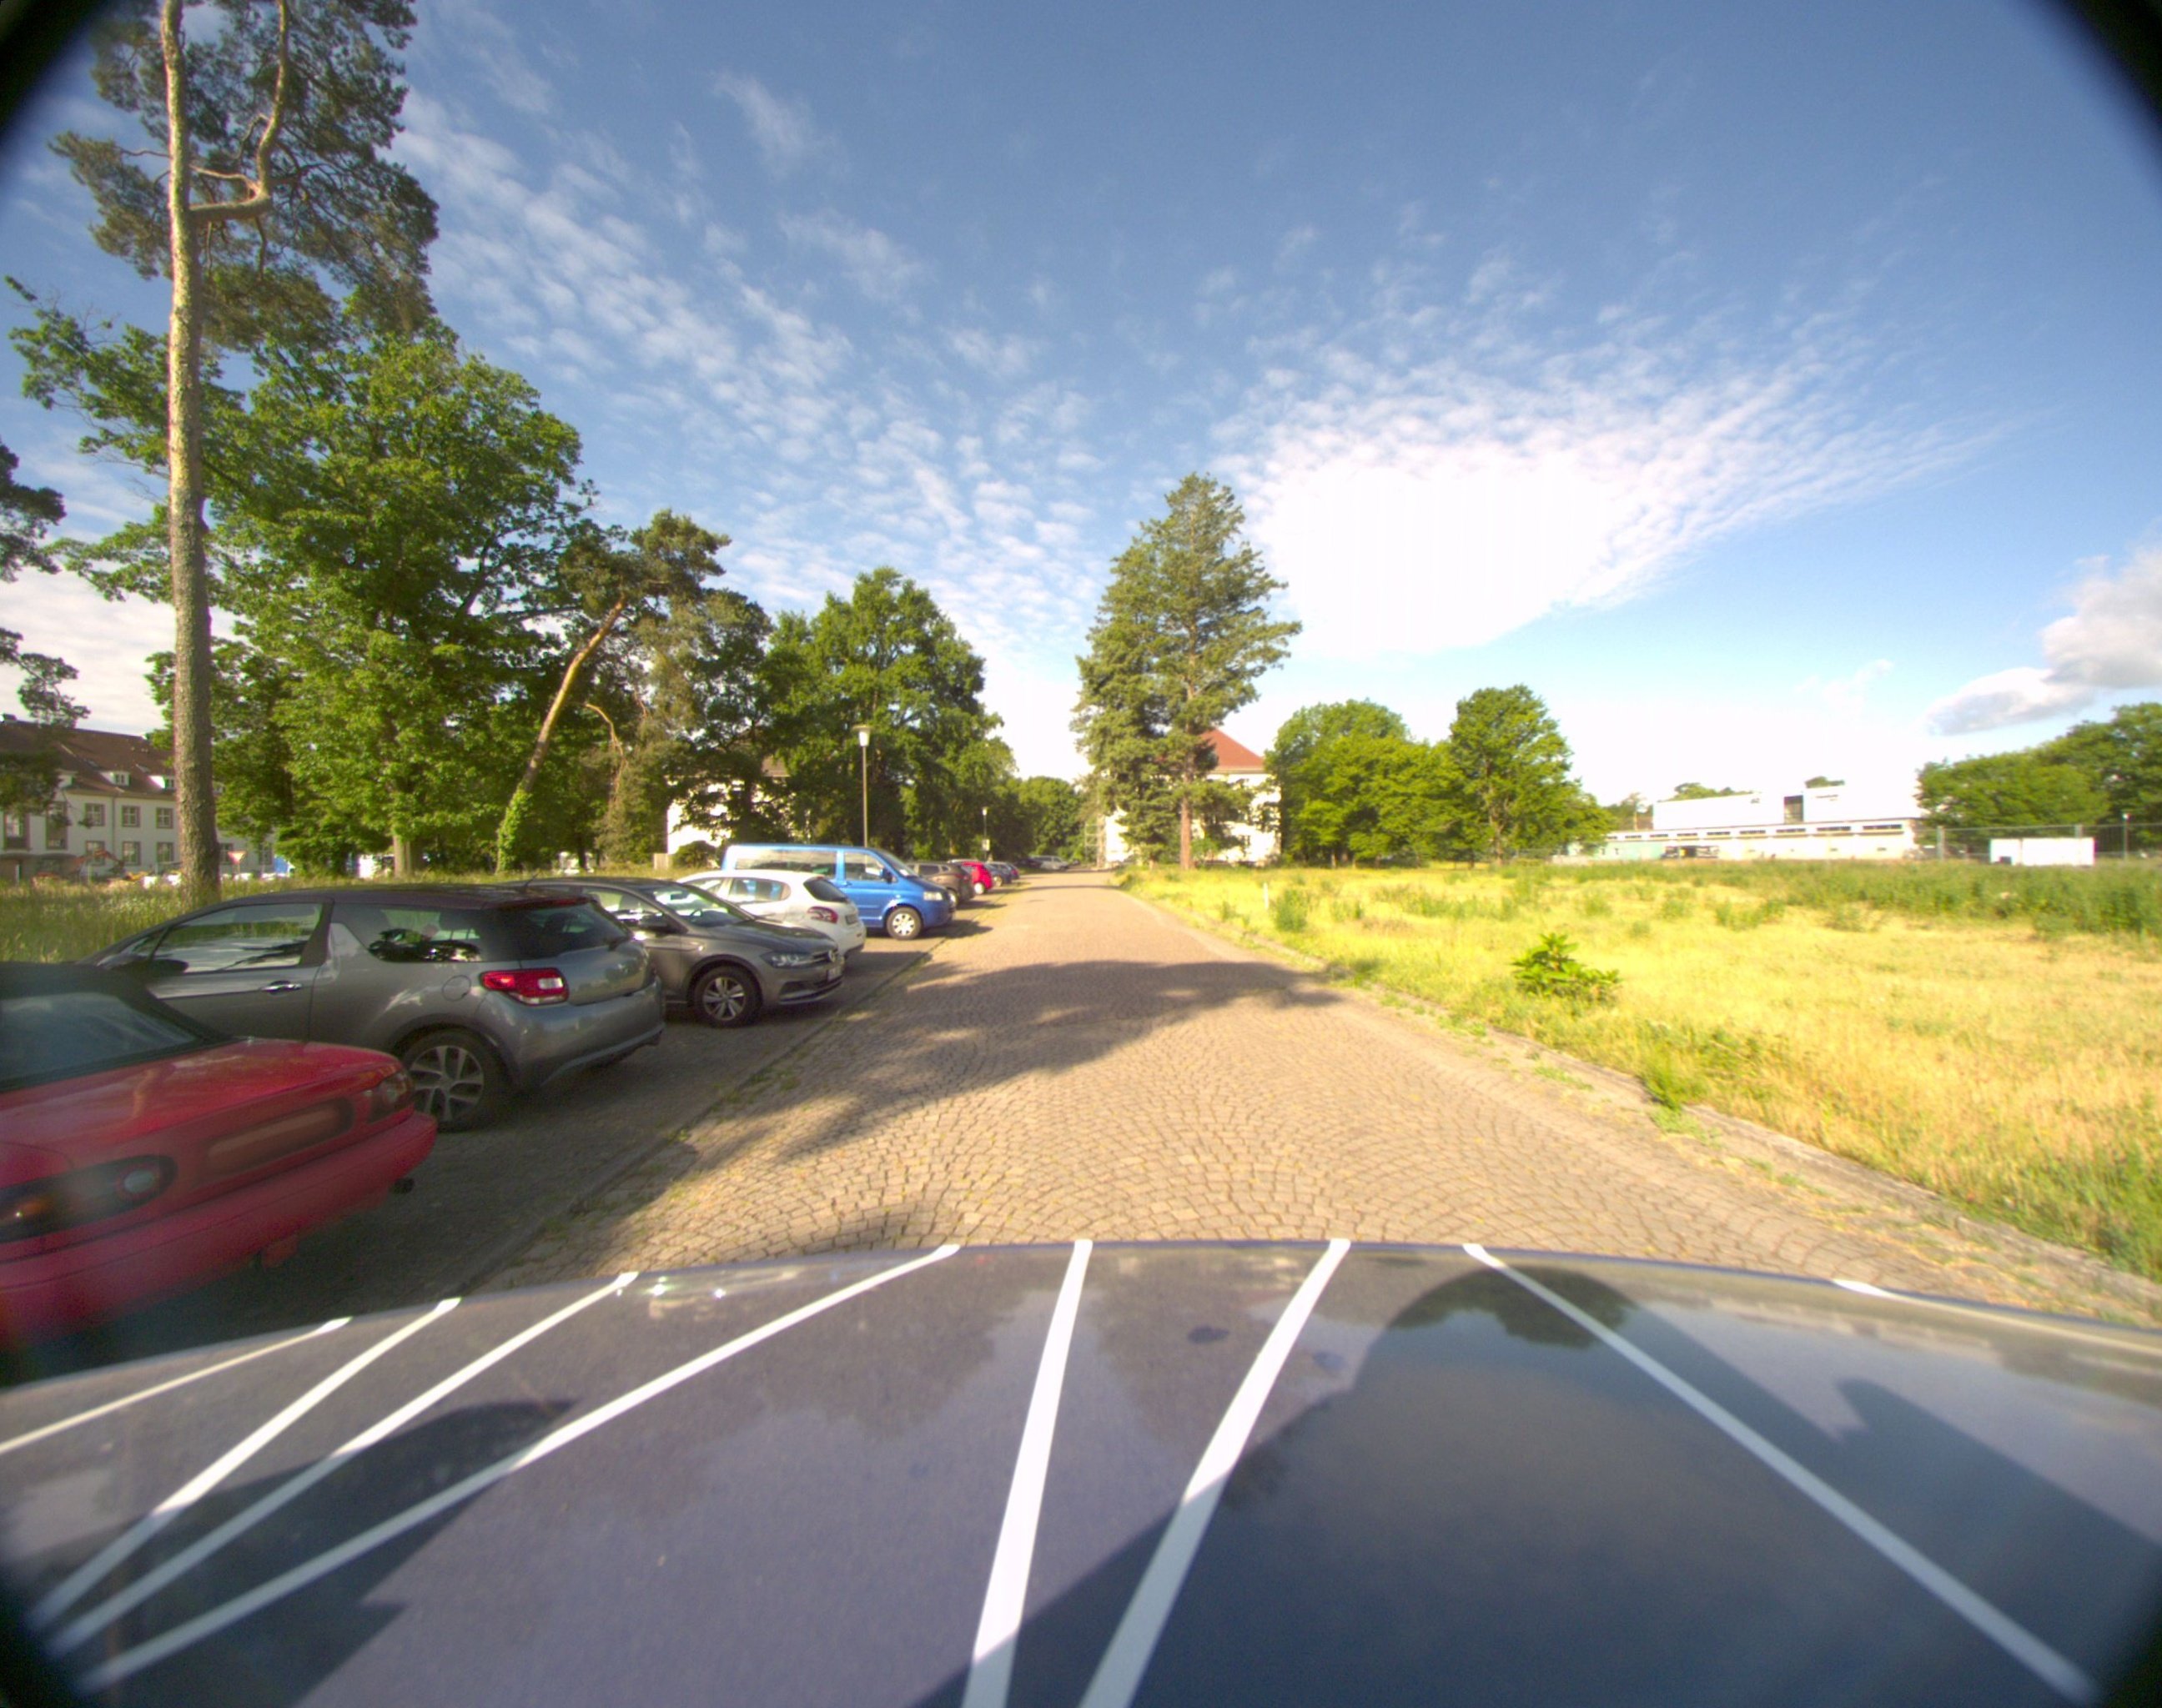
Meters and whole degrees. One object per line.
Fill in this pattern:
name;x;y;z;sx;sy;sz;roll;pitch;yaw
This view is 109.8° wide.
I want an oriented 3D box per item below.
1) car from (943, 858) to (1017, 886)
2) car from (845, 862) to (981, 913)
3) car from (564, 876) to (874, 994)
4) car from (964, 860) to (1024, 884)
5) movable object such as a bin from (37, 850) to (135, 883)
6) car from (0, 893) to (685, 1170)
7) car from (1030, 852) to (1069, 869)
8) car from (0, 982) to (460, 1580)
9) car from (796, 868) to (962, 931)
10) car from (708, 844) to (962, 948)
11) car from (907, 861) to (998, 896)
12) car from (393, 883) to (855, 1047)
car;-6.032;1.063;45.658;4.274;1.589;1.651;-1;0;-2
car;-5.458;1.076;25.112;4.118;1.601;1.786;0;0;-3
car;-5.024;1.102;10.926;3.654;1.483;1.634;-1;0;-1
car;-5.738;1.174;50.396;3.810;1.458;1.747;-1;0;-1
movable object such as a bin;-92.064;1.118;70.417;2.178;2.884;5.075;0;0;5
car;-4.948;1.056;5.109;3.673;1.446;1.666;1;0;-2
car;-4.095;0.870;99.411;4.995;2.123;2.164;-1;0;-4
car;-4.413;1.197;2.463;3.470;1.235;1.536;-1;0;-1
car;-4.924;1.115;18.916;3.730;1.458;1.609;1;0;-4
car;-5.101;0.846;16.281;4.767;2.002;2.000;1;0;-2
car;-5.929;1.107;35.370;3.998;1.486;1.540;-1;0;-2
car;-4.539;1.078;7.995;3.790;1.442;1.757;0;0;0
